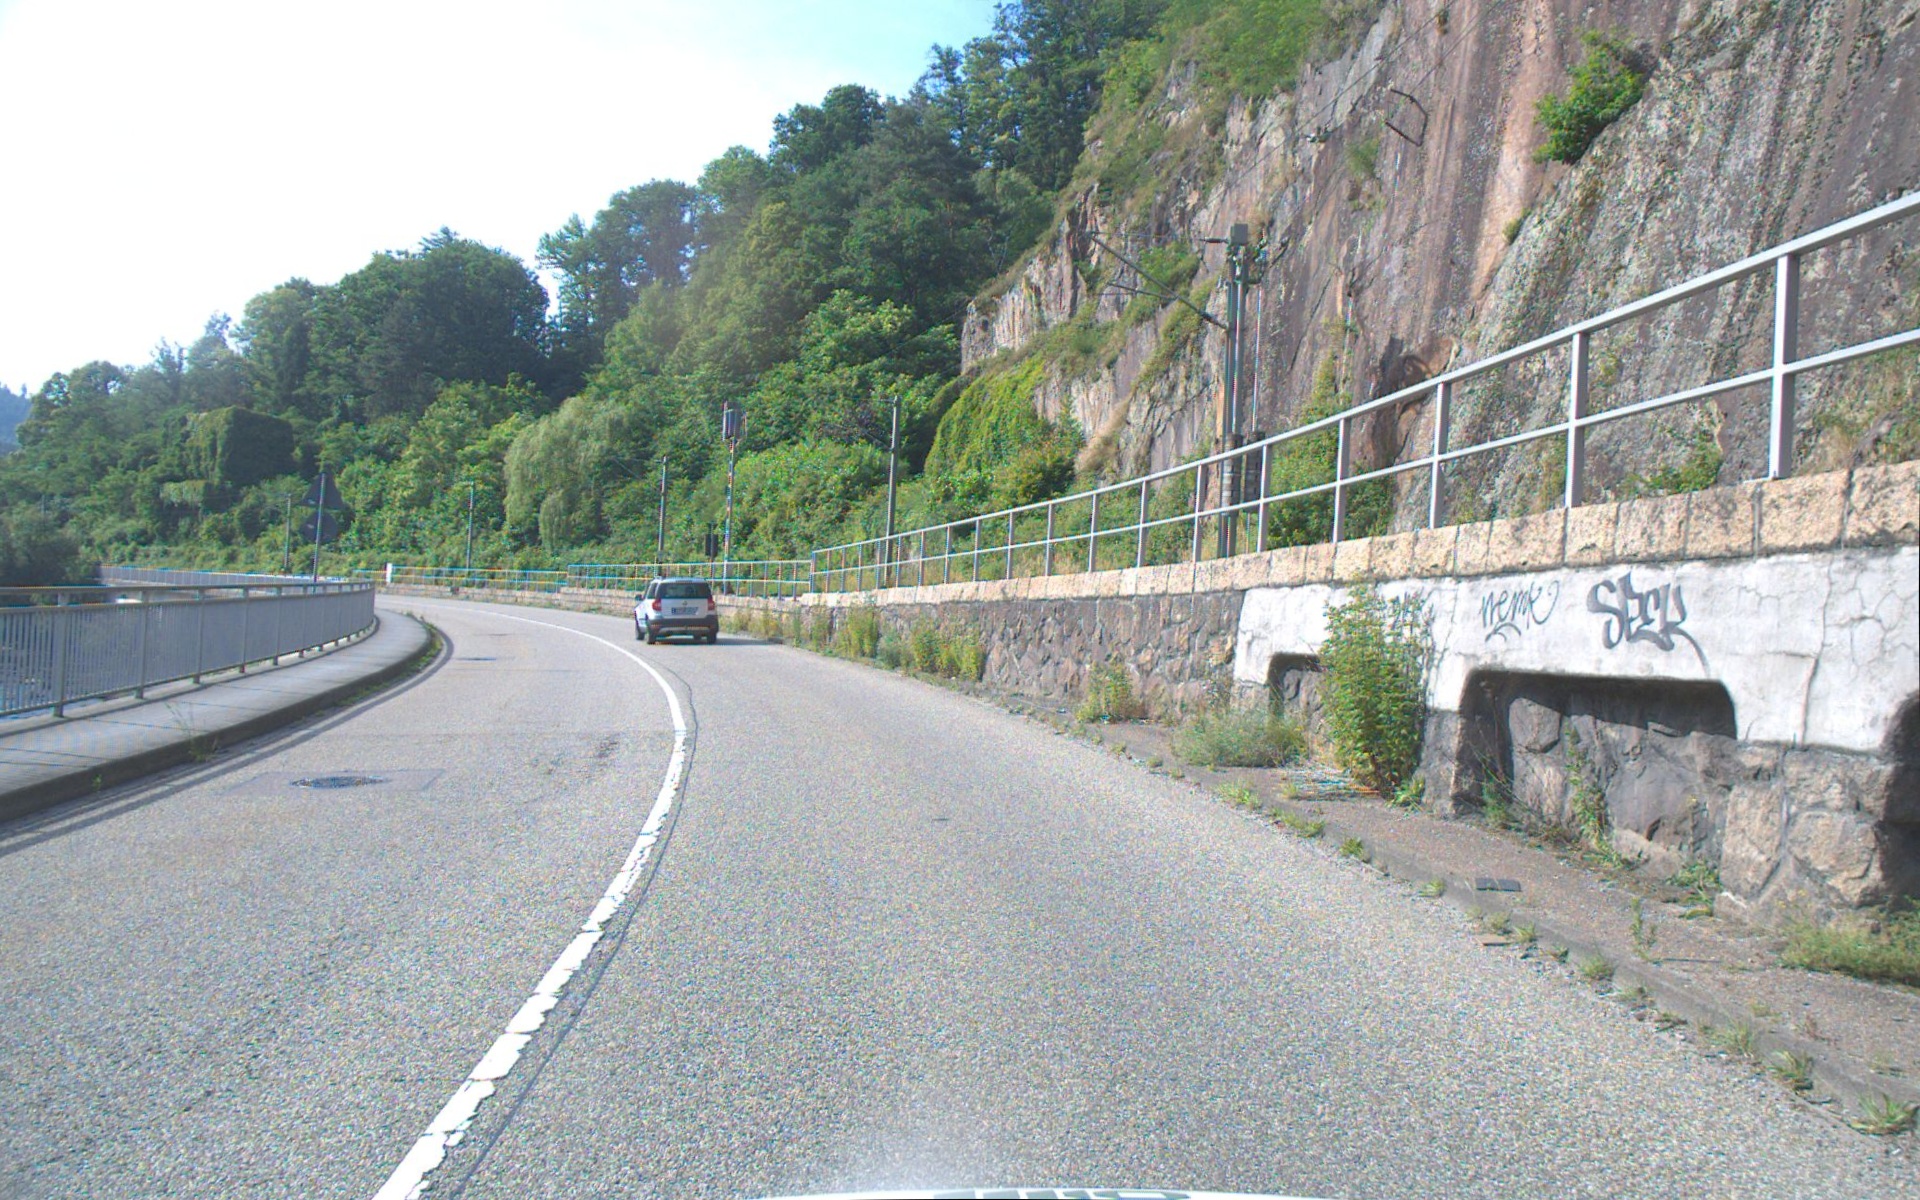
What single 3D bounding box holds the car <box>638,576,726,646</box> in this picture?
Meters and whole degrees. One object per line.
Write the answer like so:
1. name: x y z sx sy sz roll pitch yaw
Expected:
1. car: -7.187 0.235 42.498 1.842 1.684 3.984 0 1 -15
